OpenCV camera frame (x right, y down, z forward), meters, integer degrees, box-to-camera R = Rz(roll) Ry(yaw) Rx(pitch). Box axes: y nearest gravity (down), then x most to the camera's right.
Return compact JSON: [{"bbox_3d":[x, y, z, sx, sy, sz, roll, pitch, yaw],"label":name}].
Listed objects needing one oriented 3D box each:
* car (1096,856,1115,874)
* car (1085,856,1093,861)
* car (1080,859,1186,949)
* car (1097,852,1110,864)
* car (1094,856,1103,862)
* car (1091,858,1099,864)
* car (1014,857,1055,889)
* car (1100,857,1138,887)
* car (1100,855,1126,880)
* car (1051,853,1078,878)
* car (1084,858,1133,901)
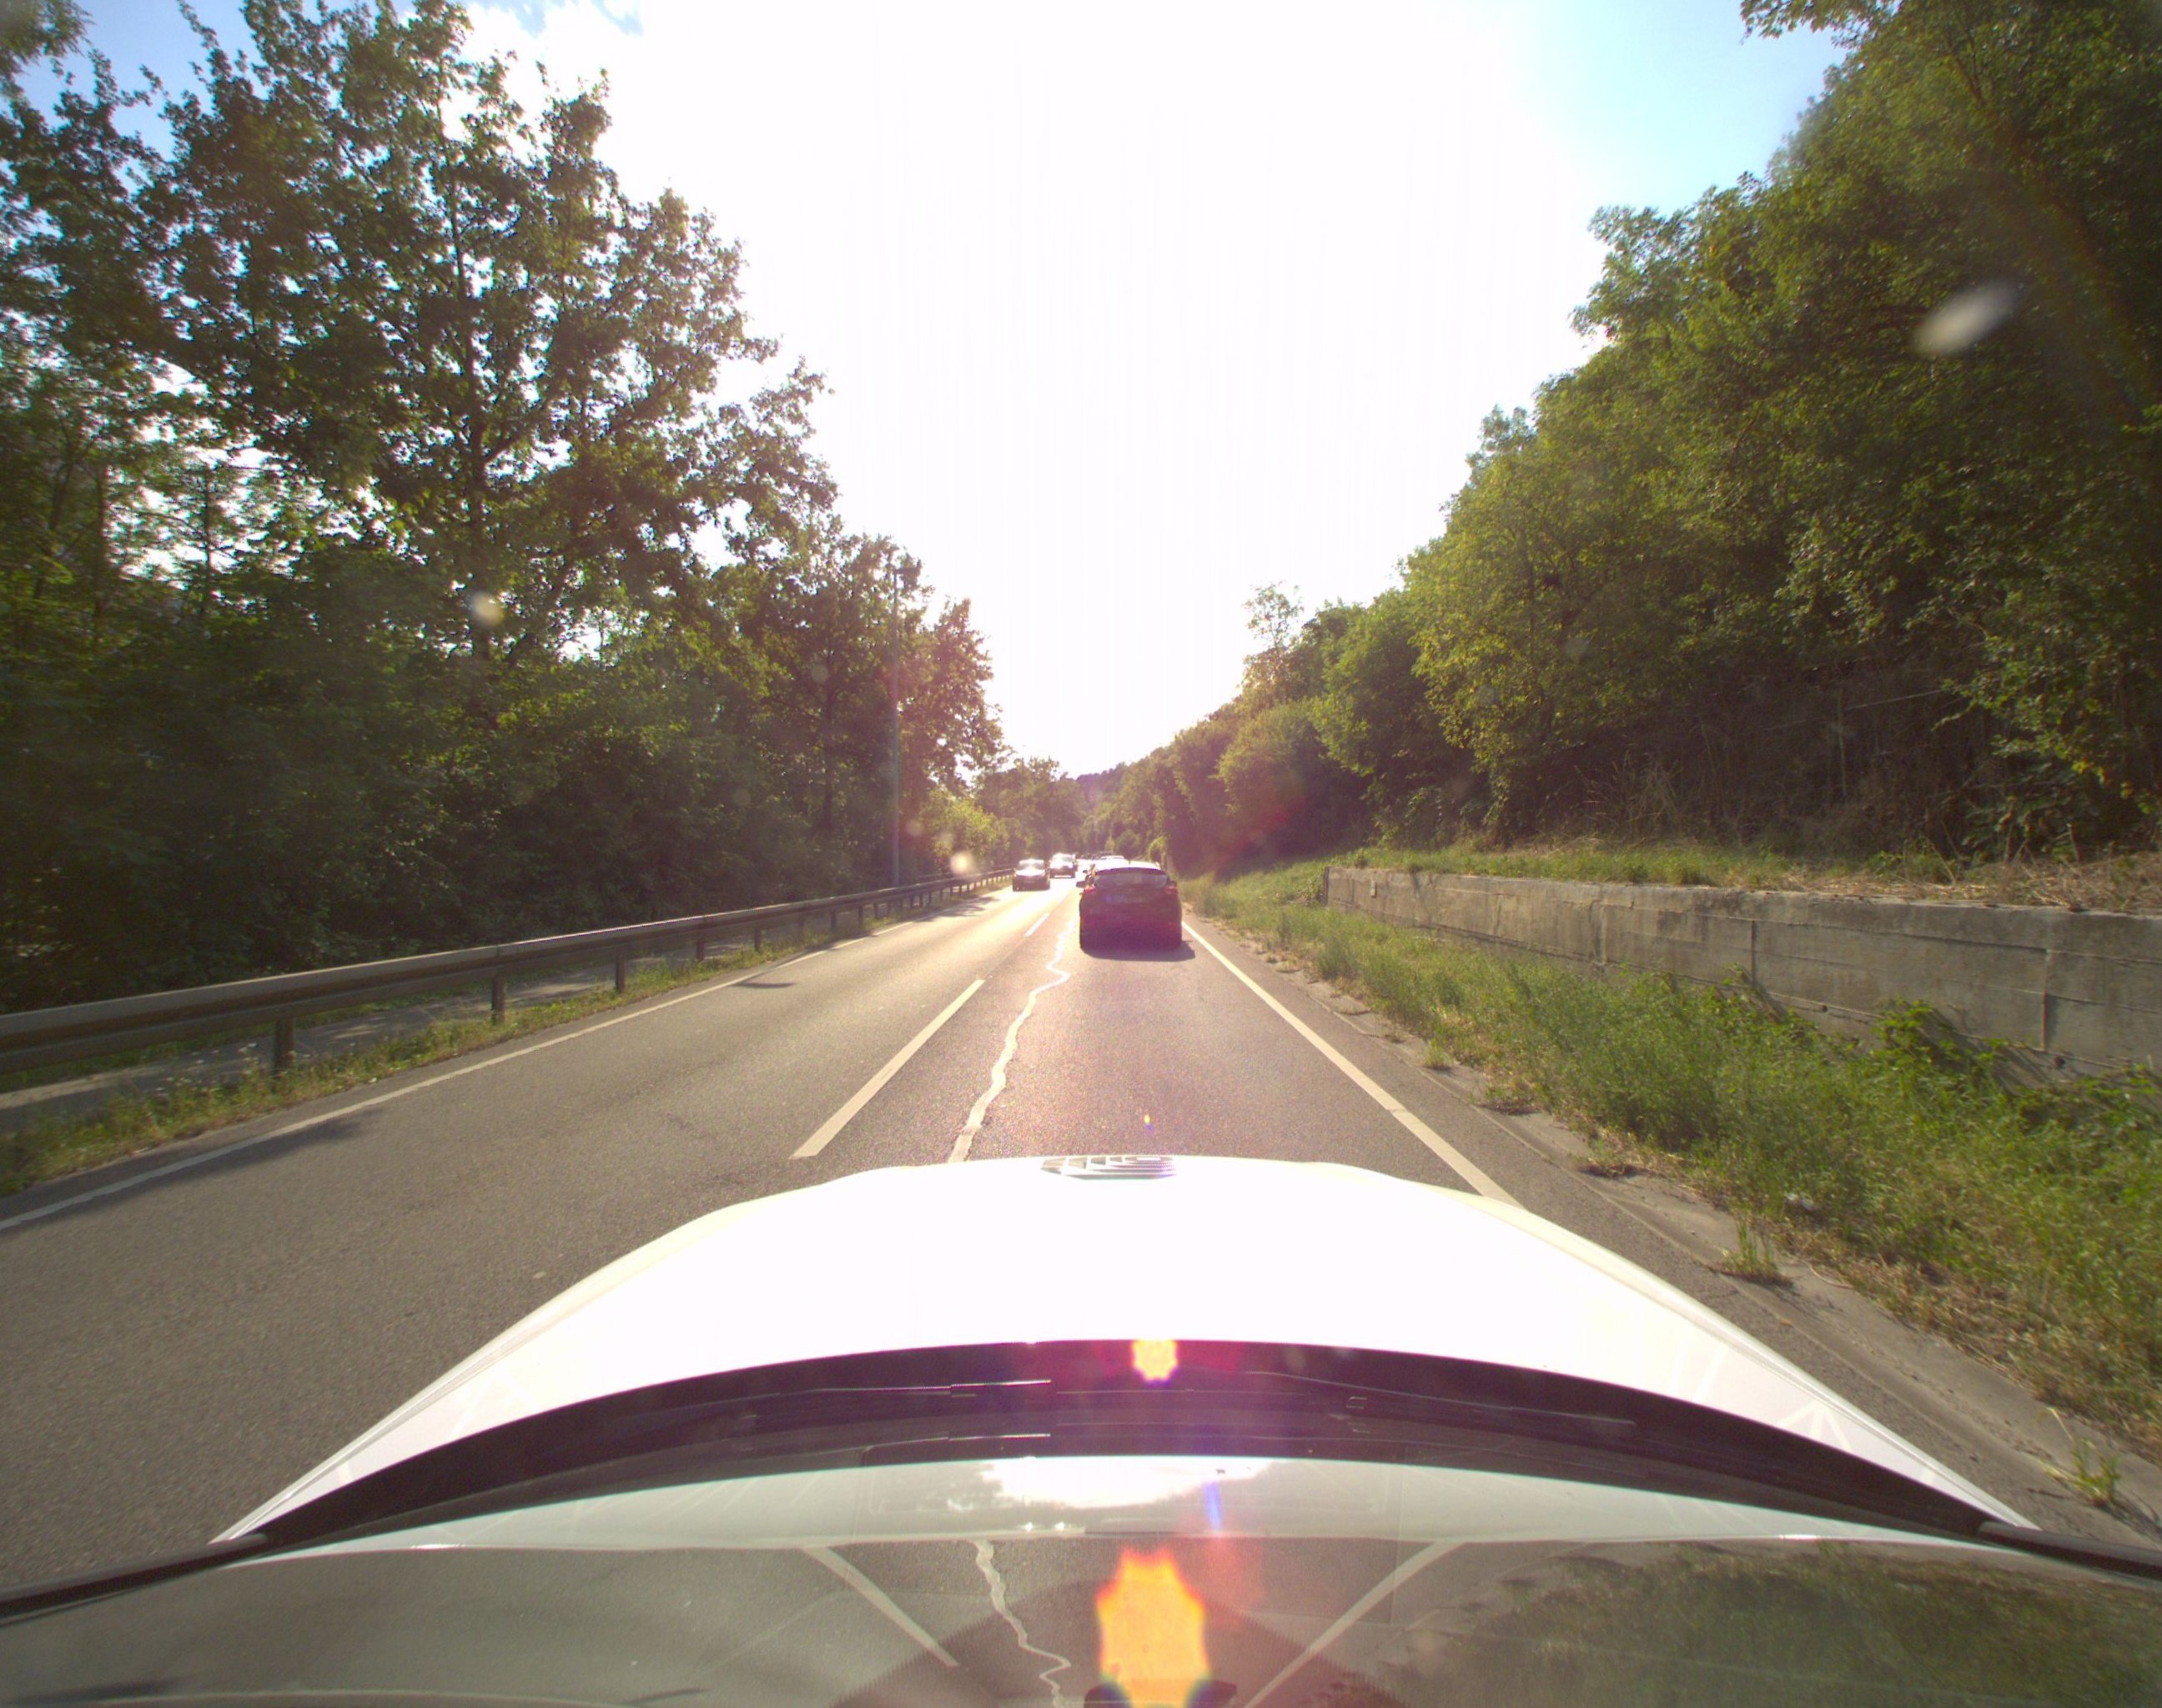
[{"bbox_3d":[2.186,0.971,73.100,1.624,1.596,4.002,-1,0,2],"label":"car"},{"bbox_3d":[2.377,1.342,245.866,1.991,1.519,3.992,-1,0,-6],"label":"car"},{"bbox_3d":[0.918,0.829,15.300,1.733,1.456,4.002,0,0,2],"label":"car"},{"bbox_3d":[3.264,0.568,118.747,1.857,1.780,4.000,-1,0,1],"label":"car"},{"bbox_3d":[4.580,1.372,211.956,1.991,1.519,3.992,-1,0,-6],"label":"car"},{"bbox_3d":[4.009,1.963,232.885,1.991,1.519,3.992,-1,0,-6],"label":"car"},{"bbox_3d":[-2.285,0.918,41.057,1.675,1.442,4.002,-1,0,2],"label":"car"},{"bbox_3d":[1.916,0.867,41.439,1.798,1.391,4.002,-1,0,2],"label":"car"},{"bbox_3d":[2.097,0.857,53.637,1.624,1.596,4.002,-1,0,2],"label":"car"},{"bbox_3d":[-1.179,0.829,60.594,1.741,1.717,4.223,-1,0,2],"label":"car"},{"bbox_3d":[1.050,0.890,29.716,1.654,1.418,4.003,-1,0,3],"label":"car"}]
